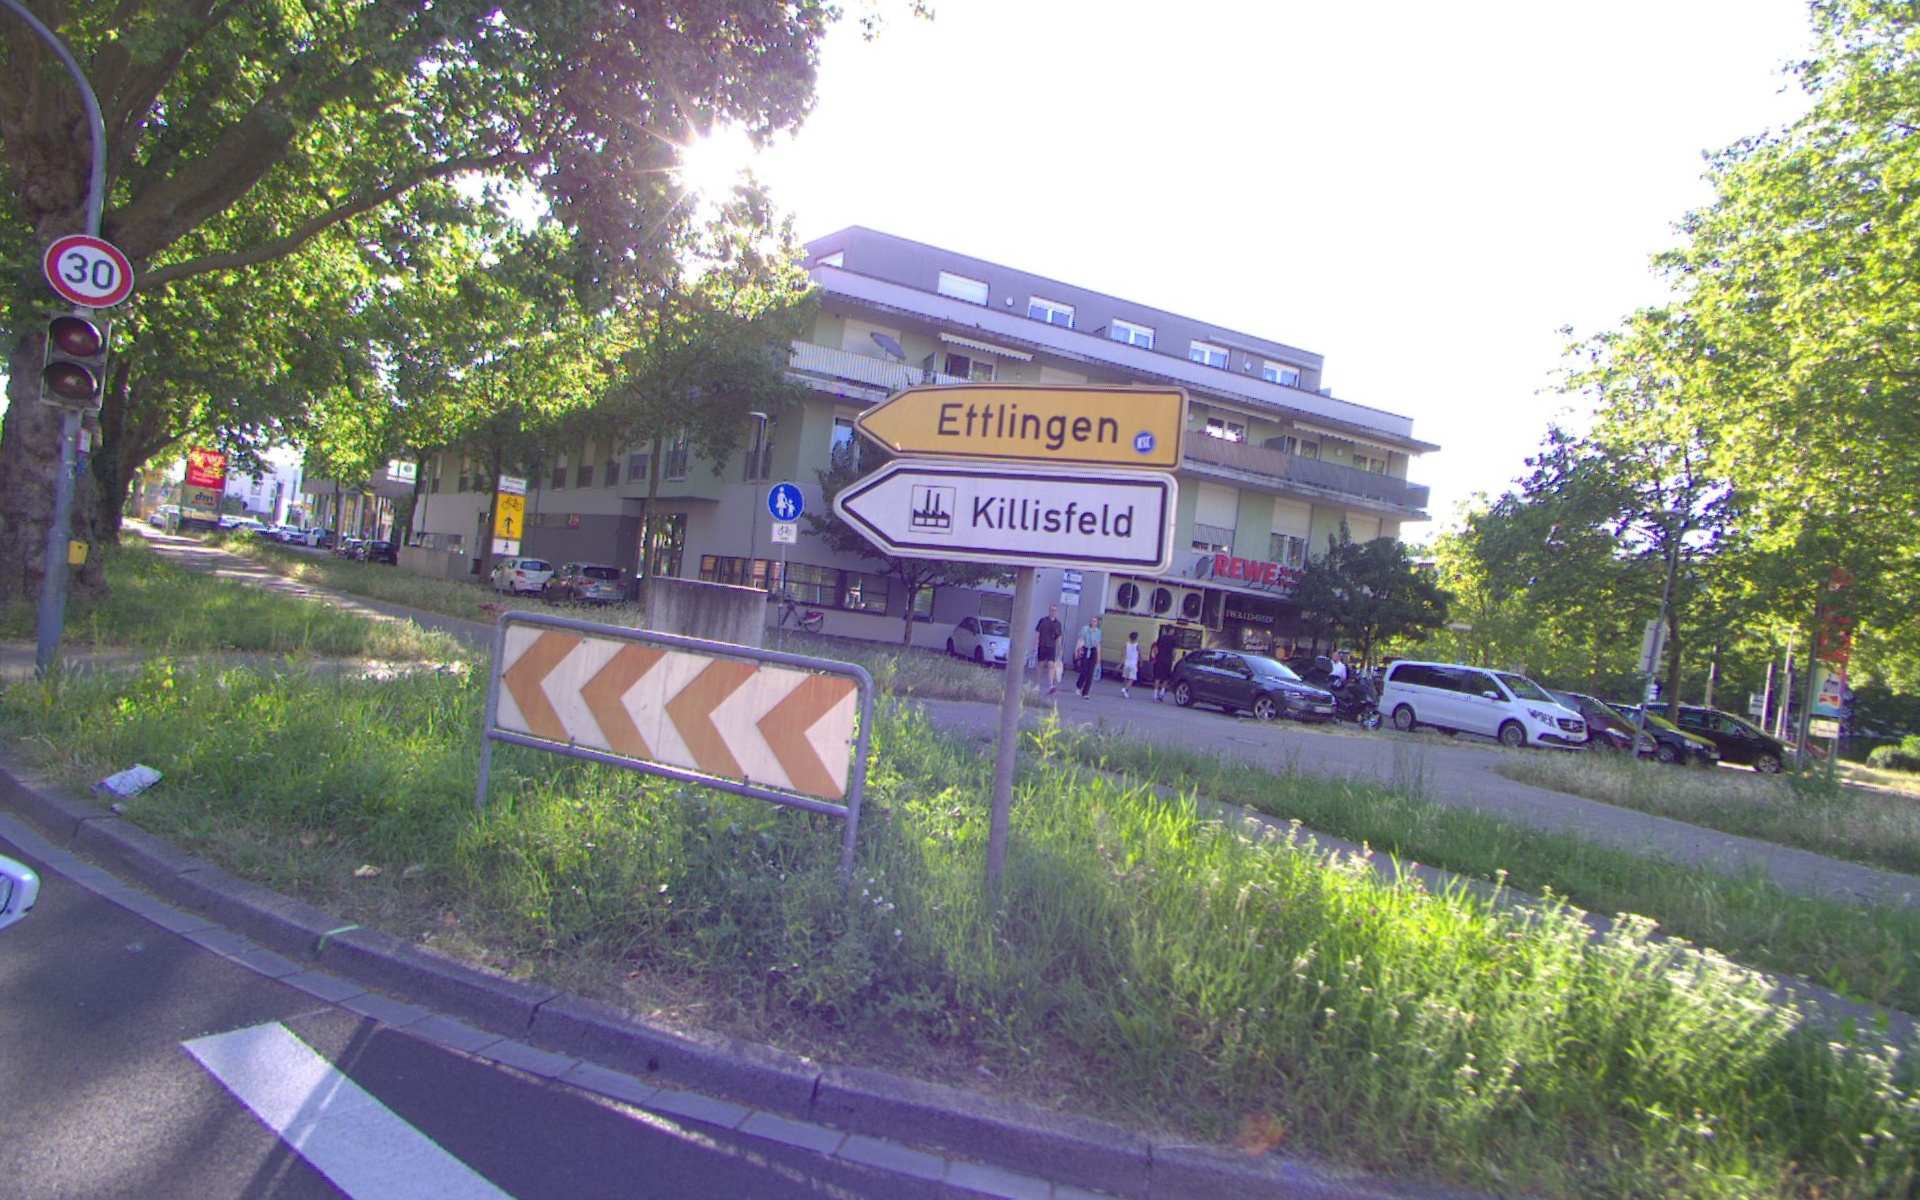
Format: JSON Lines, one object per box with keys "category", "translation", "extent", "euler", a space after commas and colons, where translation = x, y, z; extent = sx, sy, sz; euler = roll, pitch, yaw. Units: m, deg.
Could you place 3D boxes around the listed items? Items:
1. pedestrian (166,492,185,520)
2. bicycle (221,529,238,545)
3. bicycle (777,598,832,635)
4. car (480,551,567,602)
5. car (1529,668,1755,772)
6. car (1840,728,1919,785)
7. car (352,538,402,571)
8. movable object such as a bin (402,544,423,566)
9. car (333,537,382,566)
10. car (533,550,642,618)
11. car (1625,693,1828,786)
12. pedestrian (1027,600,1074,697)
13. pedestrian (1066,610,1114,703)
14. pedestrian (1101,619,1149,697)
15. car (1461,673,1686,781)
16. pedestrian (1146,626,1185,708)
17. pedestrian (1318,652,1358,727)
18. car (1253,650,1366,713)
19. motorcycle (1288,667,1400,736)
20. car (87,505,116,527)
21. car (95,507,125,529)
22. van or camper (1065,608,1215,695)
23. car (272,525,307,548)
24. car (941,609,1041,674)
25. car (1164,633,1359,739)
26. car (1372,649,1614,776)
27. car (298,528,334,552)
{"category": "pedestrian", "translation": [-53.602, -6.408, 68.742], "extent": [0.654, 1.784, 0.766], "euler": [7, 2, 38]}
{"category": "bicycle", "translation": [-50.267, -4.339, 69.244], "extent": [1.462, 1.016, 0.383], "euler": [7, 0, 33]}
{"category": "bicycle", "translation": [-5.236, 0.568, 33.951], "extent": [1.658, 1.030, 0.585], "euler": [7, 0, -22]}
{"category": "car", "translation": [-17.146, -0.936, 39.410], "extent": [1.852, 1.561, 4.271], "euler": [7, -1, -40]}
{"category": "car", "translation": [18.490, 3.206, 27.570], "extent": [1.976, 1.798, 4.602], "euler": [8, 2, -24]}
{"category": "car", "translation": [36.353, 6.061, 38.130], "extent": [4.042, 1.819, 1.998], "euler": [6, -2, 31]}
{"category": "car", "translation": [-35.200, -2.751, 60.711], "extent": [1.852, 1.571, 3.717], "euler": [7, -1, -40]}
{"category": "movable object such as a bin", "translation": [-39.693, -3.260, 72.912], "extent": [1.184, 1.480, 1.397], "euler": [7, 0, -29]}
{"category": "car", "translation": [-39.522, -3.184, 65.937], "extent": [1.853, 1.486, 4.074], "euler": [8, -1, -42]}
{"category": "car", "translation": [-12.499, -0.568, 33.621], "extent": [1.897, 1.792, 4.271], "euler": [7, -1, -40]}
{"category": "car", "translation": [23.654, 4.235, 31.183], "extent": [1.989, 1.798, 4.573], "euler": [6, 3, -44]}
{"category": "pedestrian", "translation": [1.938, 1.038, 21.623], "extent": [0.767, 1.956, 0.839], "euler": [7, 0, 4]}
{"category": "pedestrian", "translation": [2.816, 1.221, 21.881], "extent": [0.788, 1.903, 0.785], "euler": [7, 0, 4]}
{"category": "pedestrian", "translation": [3.964, 1.388, 24.151], "extent": [0.932, 1.719, 0.884], "euler": [7, 0, 10]}
{"category": "car", "translation": [16.049, 3.271, 26.647], "extent": [1.976, 1.798, 4.602], "euler": [8, 2, -24]}
{"category": "pedestrian", "translation": [4.902, 1.580, 24.047], "extent": [0.673, 1.832, 0.965], "euler": [7, 0, 9]}
{"category": "pedestrian", "translation": [9.355, 2.208, 24.881], "extent": [0.554, 1.771, 0.528], "euler": [7, -1, -30]}
{"category": "car", "translation": [12.280, 2.837, 35.583], "extent": [1.558, 1.653, 3.656], "euler": [8, -1, -24]}
{"category": "motorcycle", "translation": [9.022, 2.371, 23.727], "extent": [0.941, 1.263, 2.300], "euler": [7, 0, -28]}
{"category": "car", "translation": [-73.586, -7.205, 86.253], "extent": [1.802, 1.559, 4.530], "euler": [4, 2, -40]}
{"category": "car", "translation": [-68.843, -6.652, 81.436], "extent": [1.629, 1.486, 3.973], "euler": [6, 0, -42]}
{"category": "van or camper", "translation": [5.892, 1.646, 33.742], "extent": [2.235, 2.274, 5.342], "euler": [7, 0, -22]}
{"category": "car", "translation": [-61.132, -5.799, 91.704], "extent": [1.870, 1.754, 4.129], "euler": [7, -1, -43]}
{"category": "car", "translation": [0.931, 1.283, 32.190], "extent": [1.655, 1.474, 3.534], "euler": [8, 2, -24]}
{"category": "car", "translation": [6.559, 1.845, 22.302], "extent": [1.657, 1.542, 3.954], "euler": [7, 2, -29]}
{"category": "car", "translation": [13.240, 2.722, 25.419], "extent": [1.976, 2.124, 5.018], "euler": [8, 2, -24]}
{"category": "car", "translation": [-59.522, -5.554, 92.969], "extent": [1.979, 1.754, 4.130], "euler": [7, -1, -42]}
